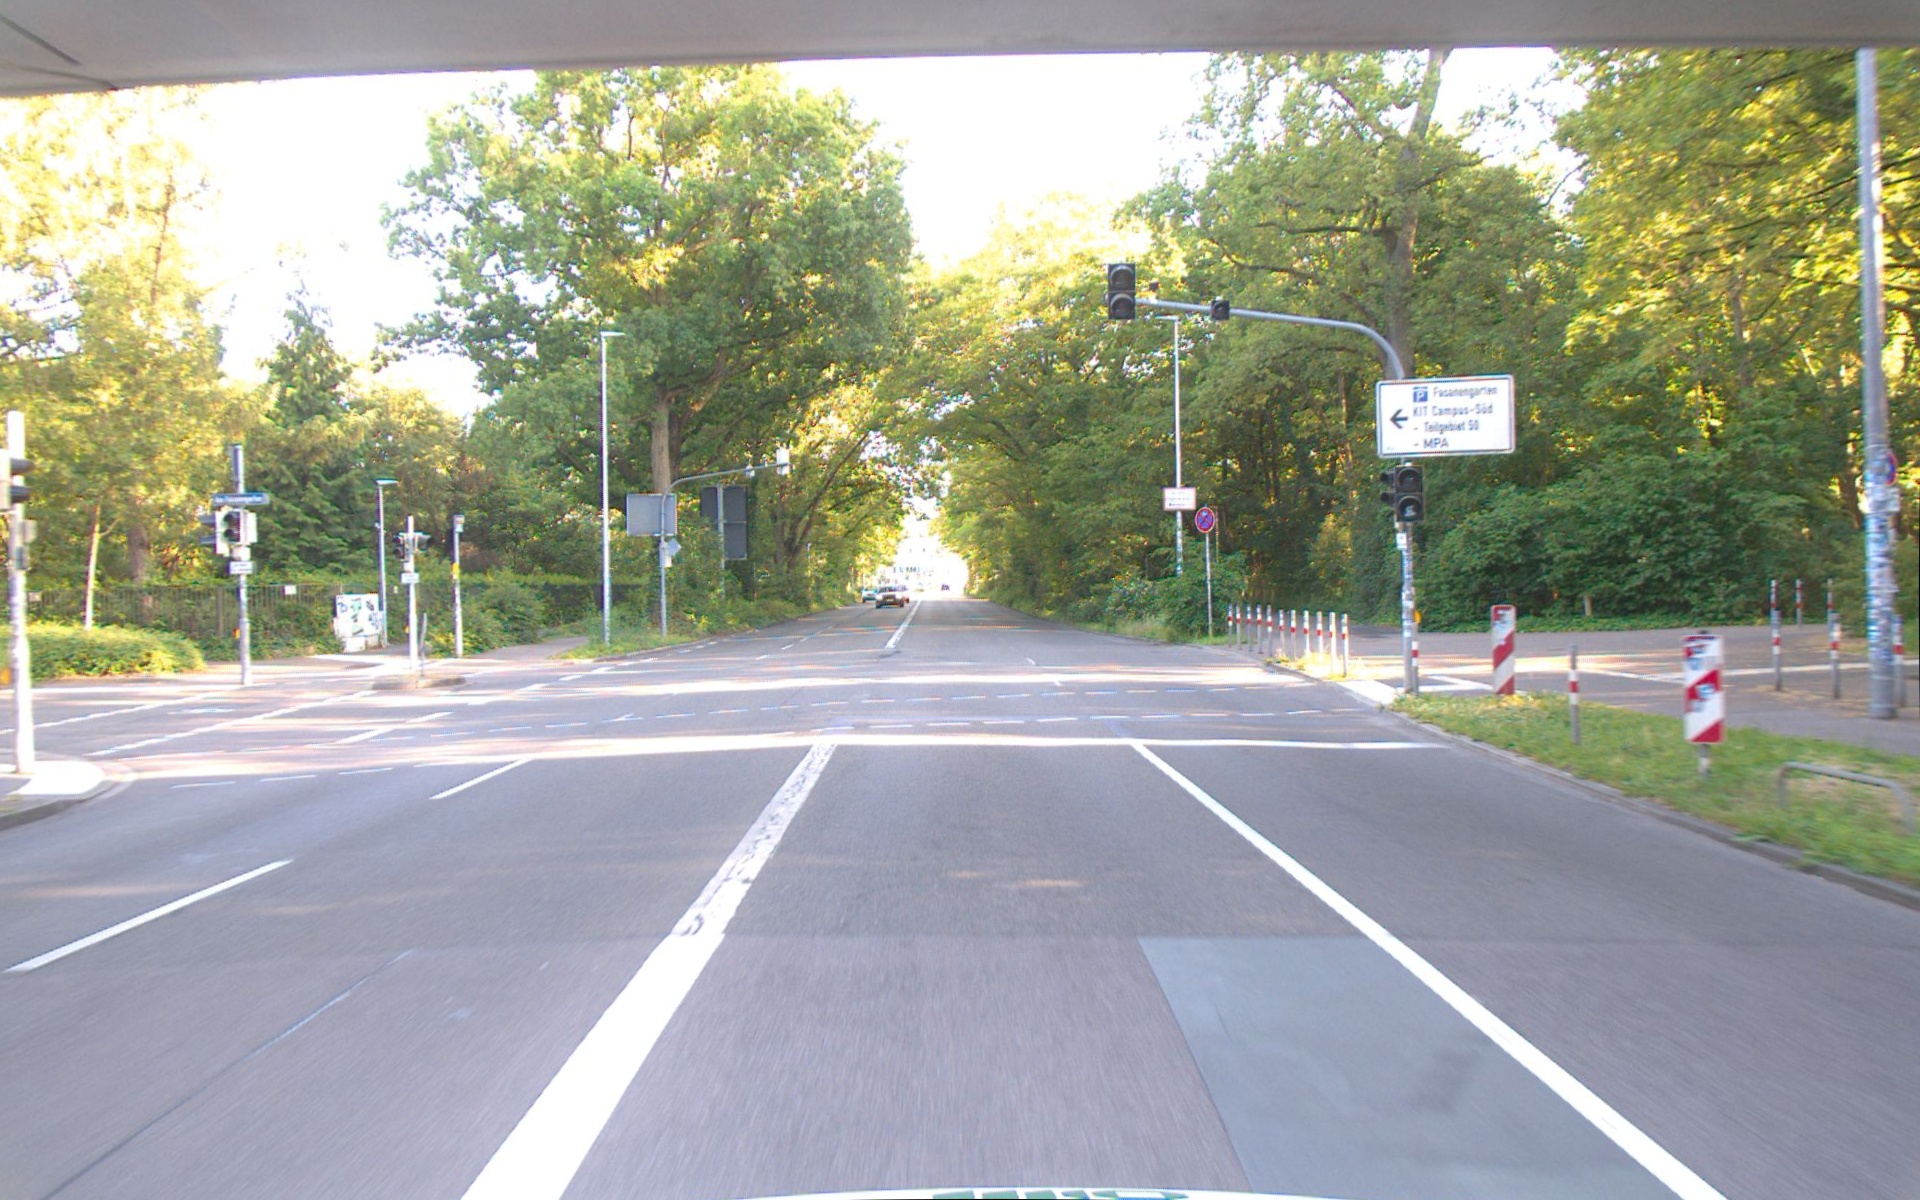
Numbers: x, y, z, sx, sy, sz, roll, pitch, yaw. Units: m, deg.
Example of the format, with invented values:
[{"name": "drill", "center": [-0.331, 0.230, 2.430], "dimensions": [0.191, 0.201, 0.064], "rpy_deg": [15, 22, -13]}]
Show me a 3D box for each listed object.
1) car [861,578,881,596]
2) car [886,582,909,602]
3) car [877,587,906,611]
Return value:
[{"name": "car", "center": [-8.253, -1.184, 153.410], "dimensions": [1.761, 1.533, 4.362], "rpy_deg": [-2, 0, -2]}, {"name": "car", "center": [-5.152, -0.645, 136.561], "dimensions": [1.761, 1.533, 4.362], "rpy_deg": [-2, 0, -2]}, {"name": "car", "center": [-4.651, -0.077, 112.528], "dimensions": [1.849, 1.533, 4.362], "rpy_deg": [-2, 0, -2]}]
